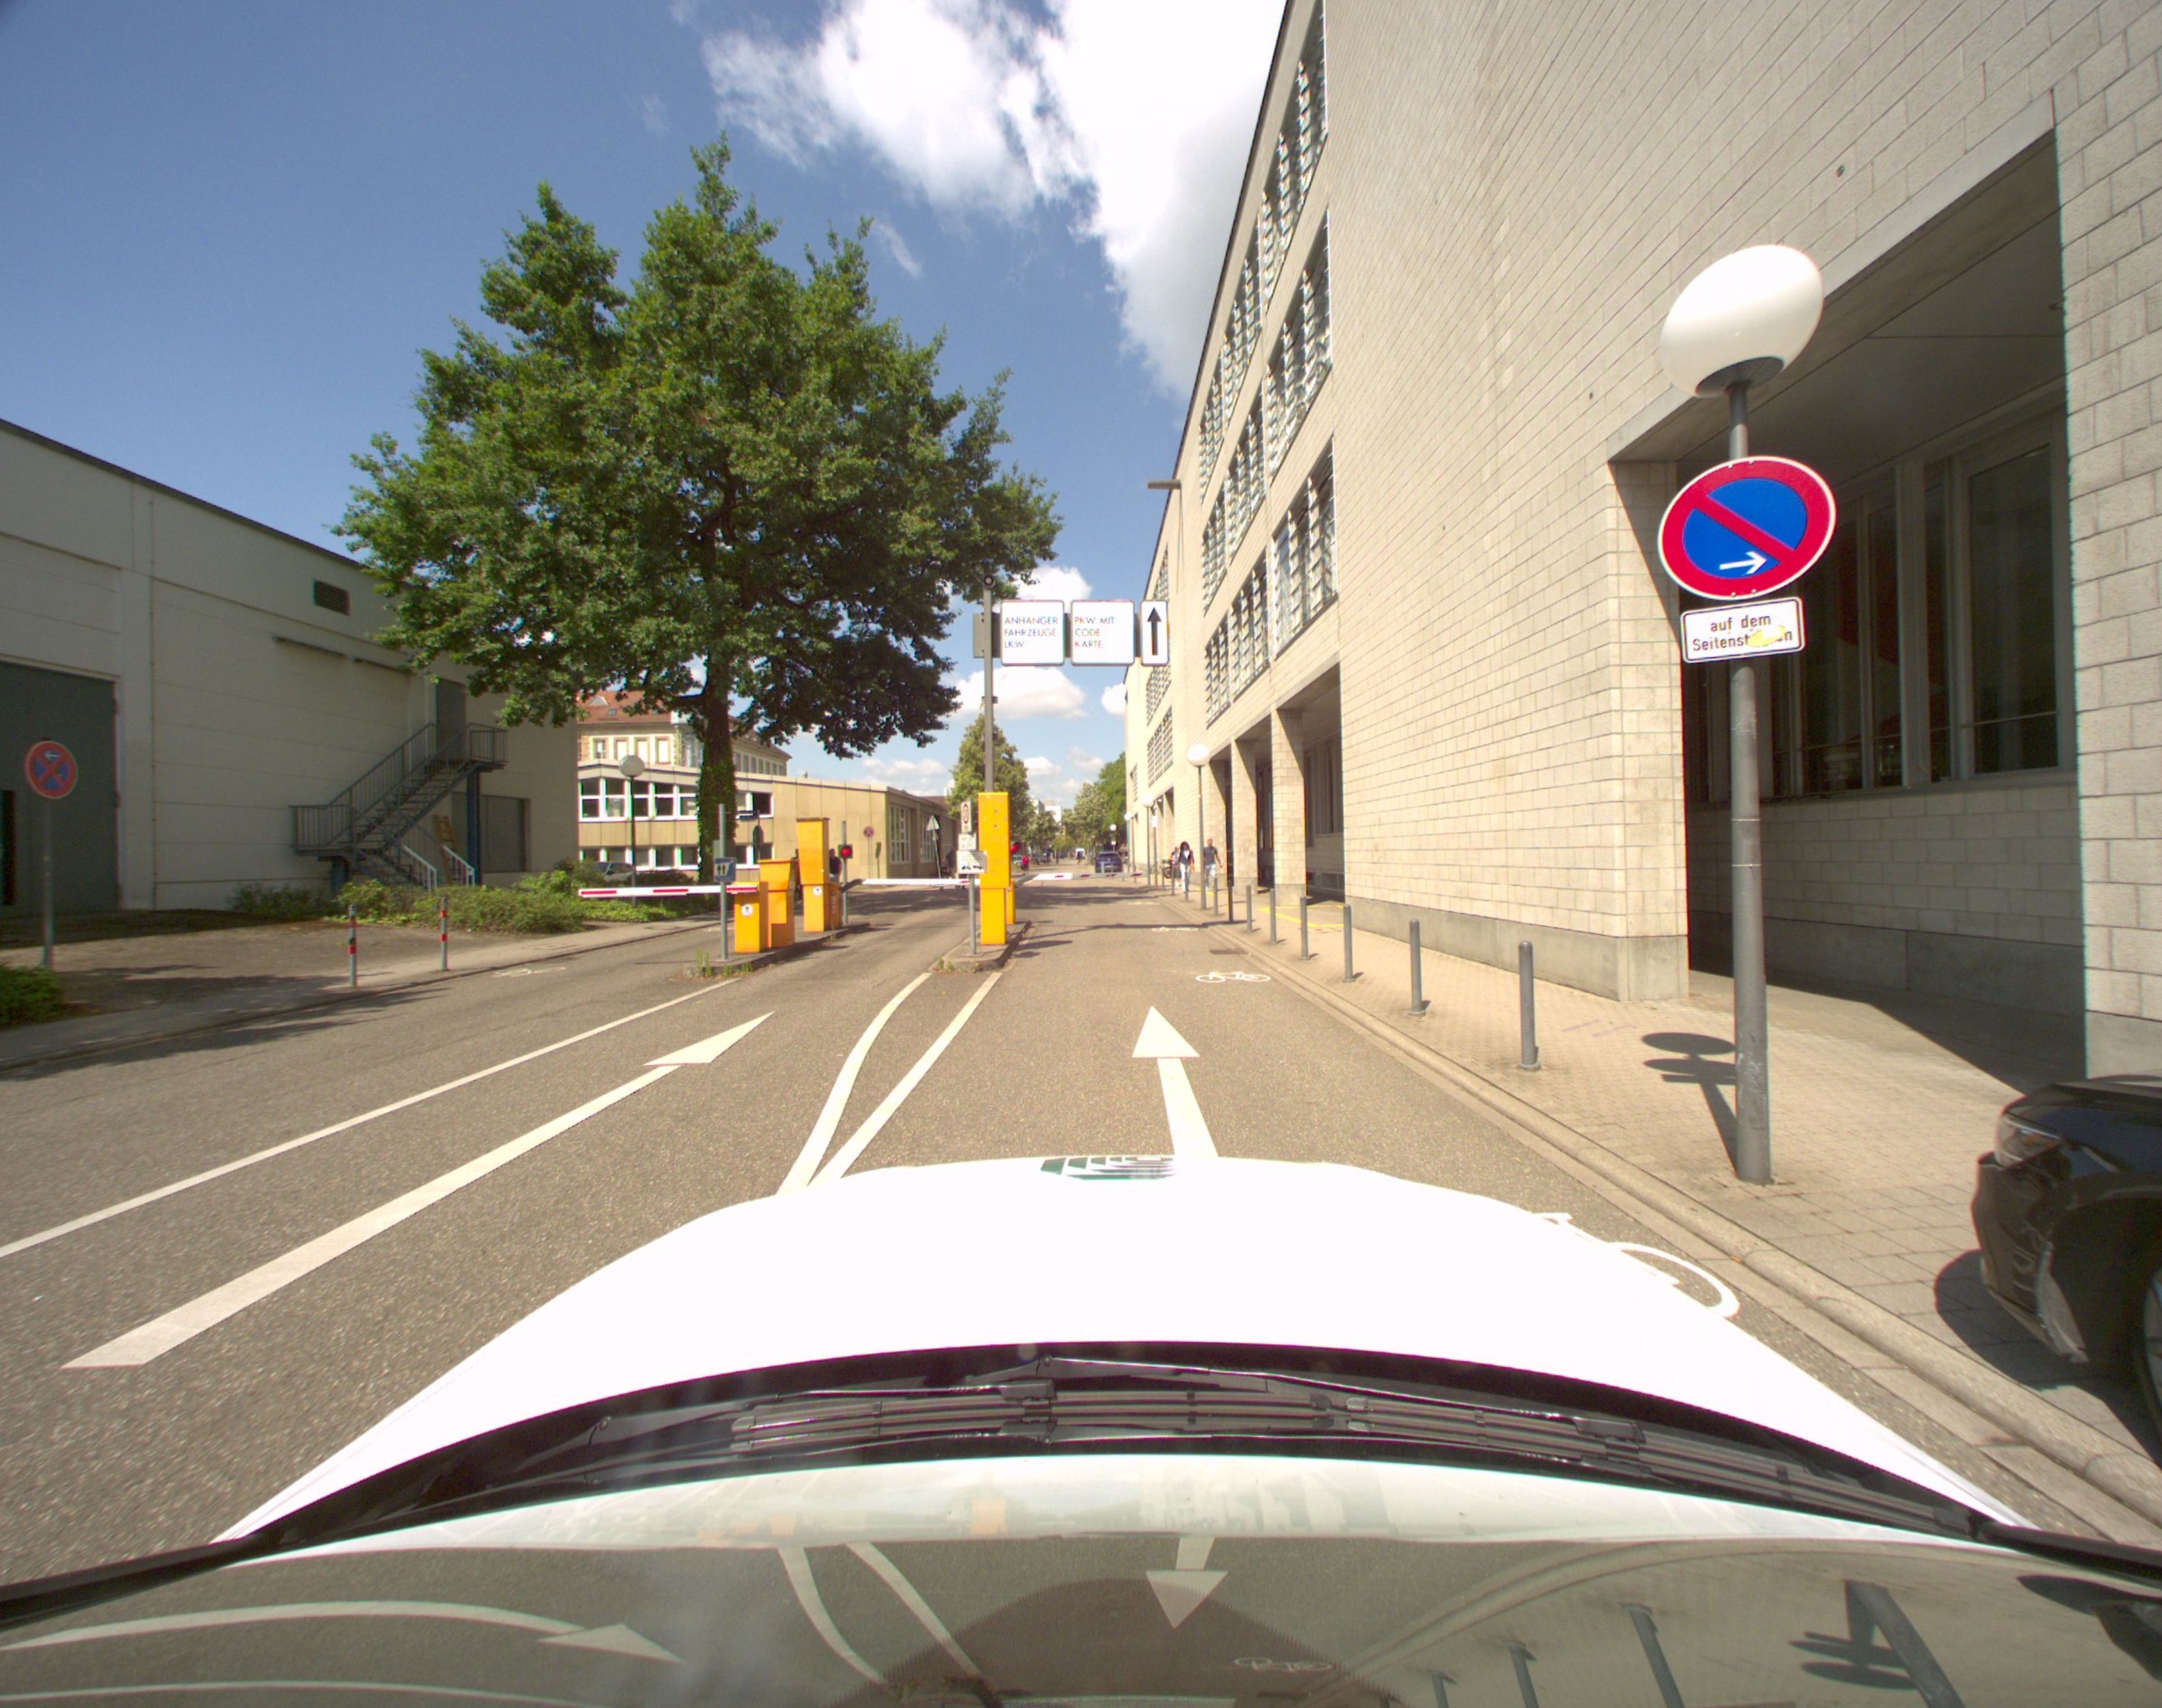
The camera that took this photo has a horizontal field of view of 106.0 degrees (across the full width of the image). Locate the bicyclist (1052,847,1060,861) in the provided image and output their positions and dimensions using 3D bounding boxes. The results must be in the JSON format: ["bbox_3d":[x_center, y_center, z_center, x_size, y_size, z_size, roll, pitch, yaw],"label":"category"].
[{"bbox_3d":[-3.381,0.015,112.007,0.986,1.884,1.034,-1,-2,-6],"label":"bicyclist"}]

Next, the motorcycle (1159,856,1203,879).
[{"bbox_3d":[5.141,0.701,41.888,2.115,1.023,0.660,-3,-2,1],"label":"motorcycle"}]

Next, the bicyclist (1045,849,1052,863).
[{"bbox_3d":[-4.473,0.225,112.375,0.985,1.884,1.035,-1,-2,-3],"label":"bicyclist"}]

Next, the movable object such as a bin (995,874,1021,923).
[{"bbox_3d":[-1.387,0.845,15.486,0.414,0.905,0.353,-1,0,4],"label":"movable object such as a bin"}]

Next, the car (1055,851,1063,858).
[{"bbox_3d":[-5.836,0.242,216.448,1.986,1.720,4.002,-2,-2,2],"label":"car"}]

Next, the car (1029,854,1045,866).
[{"bbox_3d":[-6.038,0.786,111.792,1.987,1.545,4.211,-1,0,0],"label":"car"}]

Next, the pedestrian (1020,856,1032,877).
[{"bbox_3d":[-4.344,0.947,64.004,0.892,1.632,0.886,-1,-1,-4],"label":"pedestrian"}]

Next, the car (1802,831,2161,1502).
[{"bbox_3d":[3.279,0.664,0.388,1.860,1.464,4.519,-1,0,0],"label":"car"}]

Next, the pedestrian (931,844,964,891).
[{"bbox_3d":[-5.543,0.551,33.764,1.011,1.925,0.877,0,-1,-42],"label":"pedestrian"}]

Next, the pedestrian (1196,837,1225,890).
[{"bbox_3d":[4.487,0.318,28.242,0.765,1.780,0.910,-3,0,-2],"label":"pedestrian"}]

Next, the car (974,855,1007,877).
[{"bbox_3d":[-6.804,0.890,61.678,1.987,1.545,4.211,-1,0,0],"label":"car"}]

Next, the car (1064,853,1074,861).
[{"bbox_3d":[-2.688,0.670,188.559,1.986,1.720,4.002,-2,-2,2],"label":"car"}]

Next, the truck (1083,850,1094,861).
[{"bbox_3d":[1.525,0.373,159.266,1.988,2.014,3.997,-2,-2,-2],"label":"truck"}]

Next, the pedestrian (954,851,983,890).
[{"bbox_3d":[-4.779,0.688,34.575,0.901,1.632,0.877,0,-1,-42],"label":"pedestrian"}]

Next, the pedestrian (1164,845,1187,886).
[{"bbox_3d":[3.899,0.450,33.611,0.739,1.632,0.887,-3,0,-2],"label":"pedestrian"}]

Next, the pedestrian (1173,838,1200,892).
[{"bbox_3d":[3.658,0.370,28.211,0.693,1.780,1.085,-3,0,-2],"label":"pedestrian"}]

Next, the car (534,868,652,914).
[{"bbox_3d":[-17.998,1.309,30.296,1.824,1.466,4.297,-1,0,-1],"label":"car"}]

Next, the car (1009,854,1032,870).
[{"bbox_3d":[-6.226,0.809,83.656,1.987,1.545,4.211,-1,0,0],"label":"car"}]

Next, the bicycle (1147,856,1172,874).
[{"bbox_3d":[4.987,0.695,51.535,1.535,1.066,0.649,-2,0,7],"label":"bicycle"}]

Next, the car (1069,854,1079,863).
[{"bbox_3d":[-1.431,0.890,172.281,1.986,1.720,4.002,-2,-2,2],"label":"car"}]

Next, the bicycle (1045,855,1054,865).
[{"bbox_3d":[-4.348,0.857,111.875,0.985,1.316,2.958,-1,-2,-5],"label":"bicycle"}]

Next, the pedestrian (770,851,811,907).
[{"bbox_3d":[-9.729,0.812,27.305,1.053,1.815,0.806,-1,0,-2],"label":"pedestrian"}]

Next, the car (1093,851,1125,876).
[{"bbox_3d":[1.847,0.620,54.545,1.987,1.545,4.211,-1,0,0],"label":"car"}]

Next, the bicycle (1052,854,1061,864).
[{"bbox_3d":[-3.394,0.729,111.785,0.986,1.316,2.956,-1,-2,-7],"label":"bicycle"}]

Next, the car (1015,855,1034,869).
[{"bbox_3d":[-6.825,0.940,99.388,1.987,1.545,4.211,-1,0,0],"label":"car"}]

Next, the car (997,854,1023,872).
[{"bbox_3d":[-6.509,0.783,74.863,1.987,1.545,4.211,-1,0,0],"label":"car"}]

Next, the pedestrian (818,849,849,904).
[{"bbox_3d":[-8.315,0.731,27.401,0.703,1.809,1.001,-1,0,-1],"label":"pedestrian"}]

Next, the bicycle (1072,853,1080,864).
[{"bbox_3d":[-0.648,0.641,110.539,0.984,1.316,2.962,-2,-2,-1],"label":"bicycle"}]
